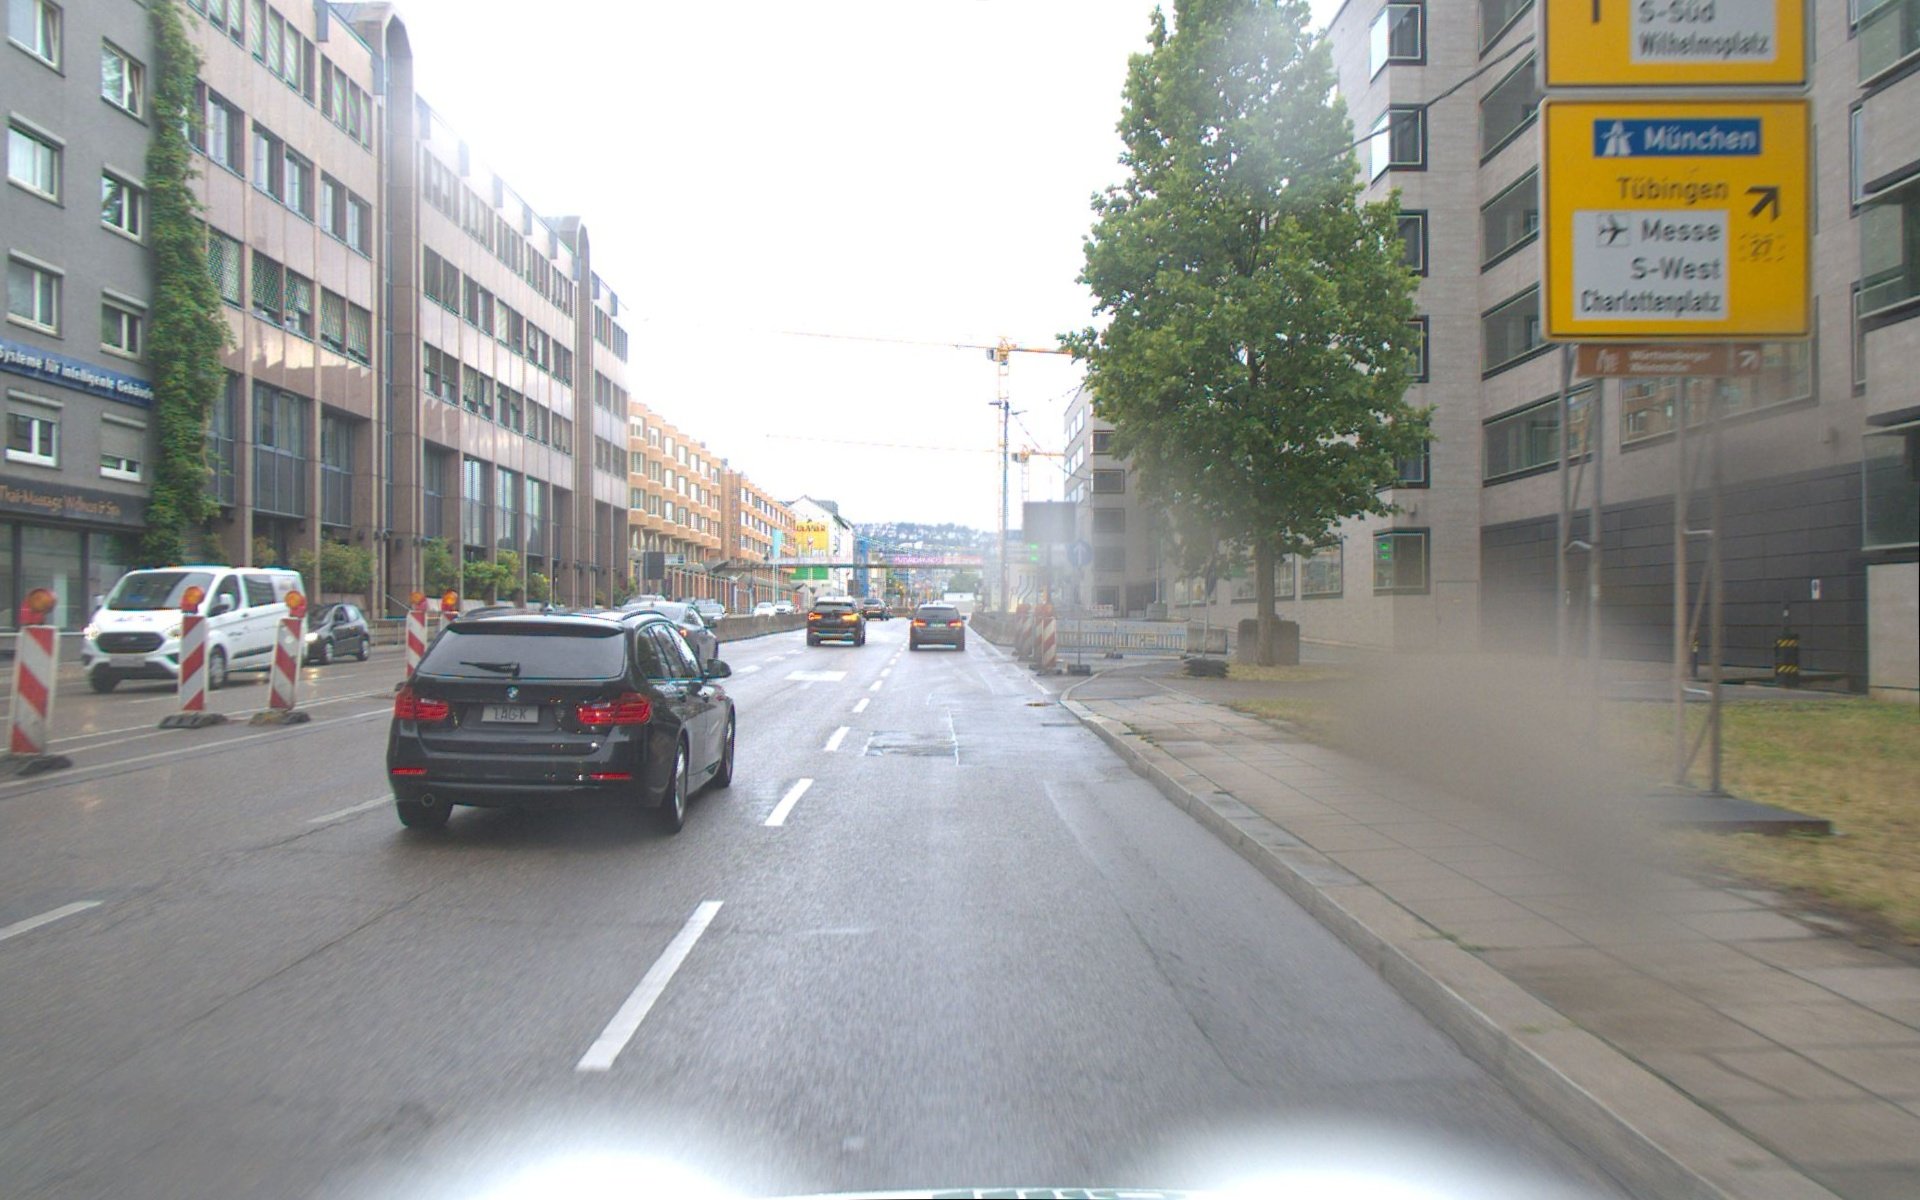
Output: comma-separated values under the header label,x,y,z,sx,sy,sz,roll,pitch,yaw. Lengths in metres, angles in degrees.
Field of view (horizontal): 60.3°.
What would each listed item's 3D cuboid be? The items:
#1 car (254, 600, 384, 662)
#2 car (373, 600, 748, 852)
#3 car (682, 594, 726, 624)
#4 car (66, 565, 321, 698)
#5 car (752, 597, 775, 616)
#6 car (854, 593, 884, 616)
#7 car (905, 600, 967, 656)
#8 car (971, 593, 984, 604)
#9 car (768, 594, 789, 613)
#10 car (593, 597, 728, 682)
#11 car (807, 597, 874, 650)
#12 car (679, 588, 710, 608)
label,x,y,z,sx,sy,sz,roll,pitch,yaw
car,-15.999,0.735,41.462,1.664,1.424,4.020,-1,0,0
car,-2.608,0.731,11.896,1.755,1.451,4.611,0,0,-3
car,-14.007,0.458,90.648,1.823,1.560,4.229,-1,0,-2
car,-12.895,0.476,28.268,1.953,2.025,5.288,-1,0,-1
car,-17.004,0.532,143.253,1.570,1.467,3.657,-1,2,-1
car,-6.842,0.319,125.226,1.860,1.723,4.001,-1,0,2
car,-0.733,0.859,53.615,1.861,1.723,4.001,0,0,1
car,2.613,-0.224,247.740,1.860,1.723,4.001,-1,0,2
car,-17.938,0.330,163.589,1.783,1.647,4.190,-1,2,-2
car,-5.586,0.695,31.381,1.754,1.451,4.384,-1,0,0
car,-4.109,0.795,57.462,1.860,1.723,4.001,-1,0,2
car,-23.279,-0.168,145.025,1.953,1.648,4.762,-1,0,0
